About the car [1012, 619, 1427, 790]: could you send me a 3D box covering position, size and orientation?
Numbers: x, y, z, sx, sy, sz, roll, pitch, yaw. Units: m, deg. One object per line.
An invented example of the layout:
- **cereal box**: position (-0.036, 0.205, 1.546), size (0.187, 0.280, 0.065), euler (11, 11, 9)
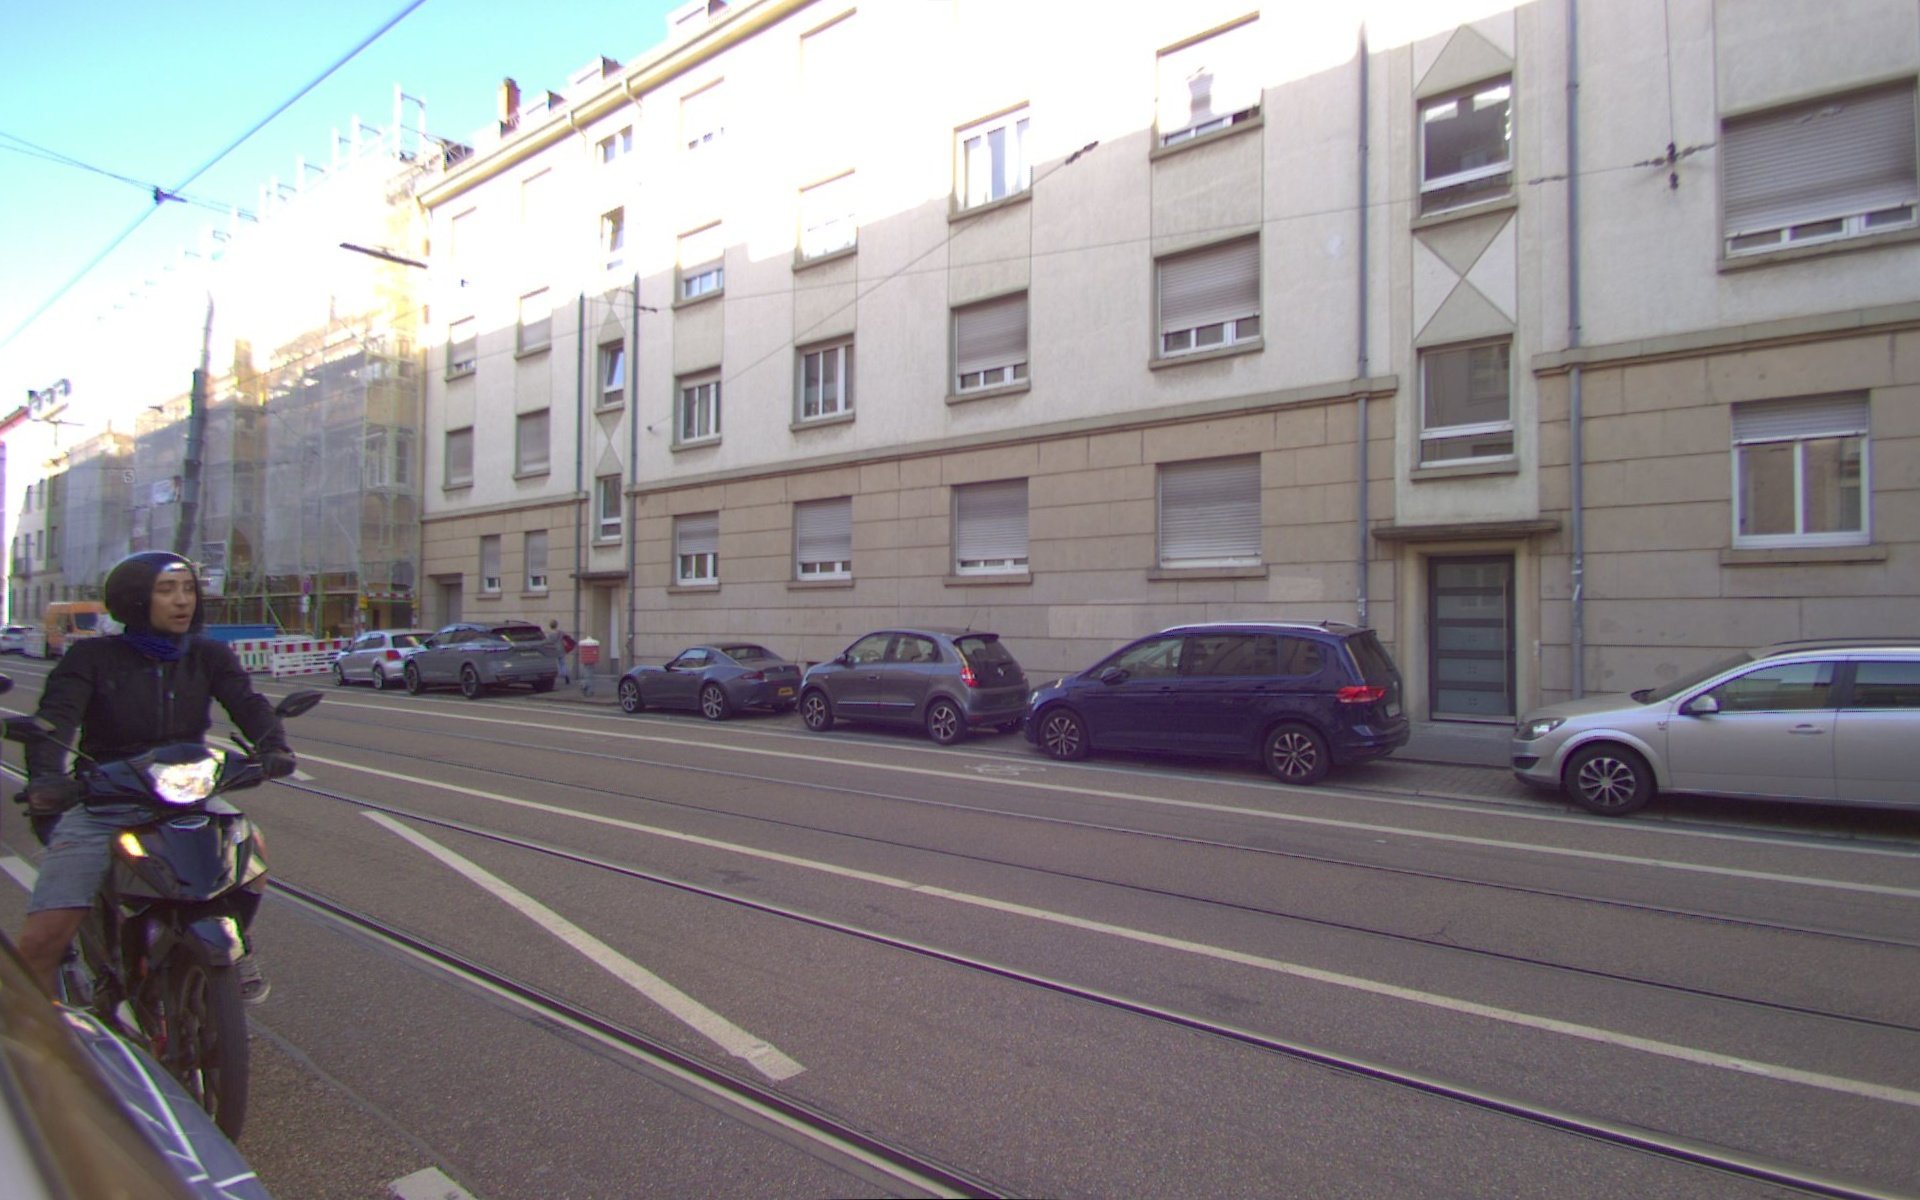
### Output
- **car**: position (2.902, 1.037, 11.739), size (4.285, 1.597, 1.887), euler (-1, 0, 37)

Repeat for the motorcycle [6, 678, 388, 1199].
- **motorcycle**: position (-2.409, 0.911, 3.082), size (1.980, 1.228, 0.532), euler (-1, 0, 41)

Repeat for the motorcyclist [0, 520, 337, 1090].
- **motorcyclist**: position (-2.540, 0.543, 3.174), size (0.598, 1.516, 0.851), euler (-1, 0, 41)

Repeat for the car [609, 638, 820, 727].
- **car**: position (-4.266, 1.345, 17.467), size (3.483, 1.286, 1.730), euler (-1, 0, 37)

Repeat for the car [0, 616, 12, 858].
- **car**: position (-8.044, 0.874, 7.016), size (3.997, 1.515, 1.670), euler (-2, -3, 40)

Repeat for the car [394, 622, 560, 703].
- **car**: position (-10.854, 1.325, 22.642), size (4.108, 1.603, 1.691), euler (-1, 0, 38)

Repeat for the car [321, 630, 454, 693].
- **car**: position (-14.450, 1.496, 25.481), size (3.639, 1.402, 1.617), euler (-1, 0, 37)

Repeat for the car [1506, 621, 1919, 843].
- **car**: position (7.219, 0.992, 8.532), size (4.358, 1.571, 1.975), euler (-1, 0, 38)

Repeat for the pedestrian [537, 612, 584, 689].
- **pedestrian**: position (-9.443, 1.170, 23.932), size (0.776, 1.777, 0.742), euler (-1, 0, 41)

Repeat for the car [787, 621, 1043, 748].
- **car**: position (-0.703, 1.118, 14.704), size (3.493, 1.584, 1.650), euler (-1, 0, 38)
